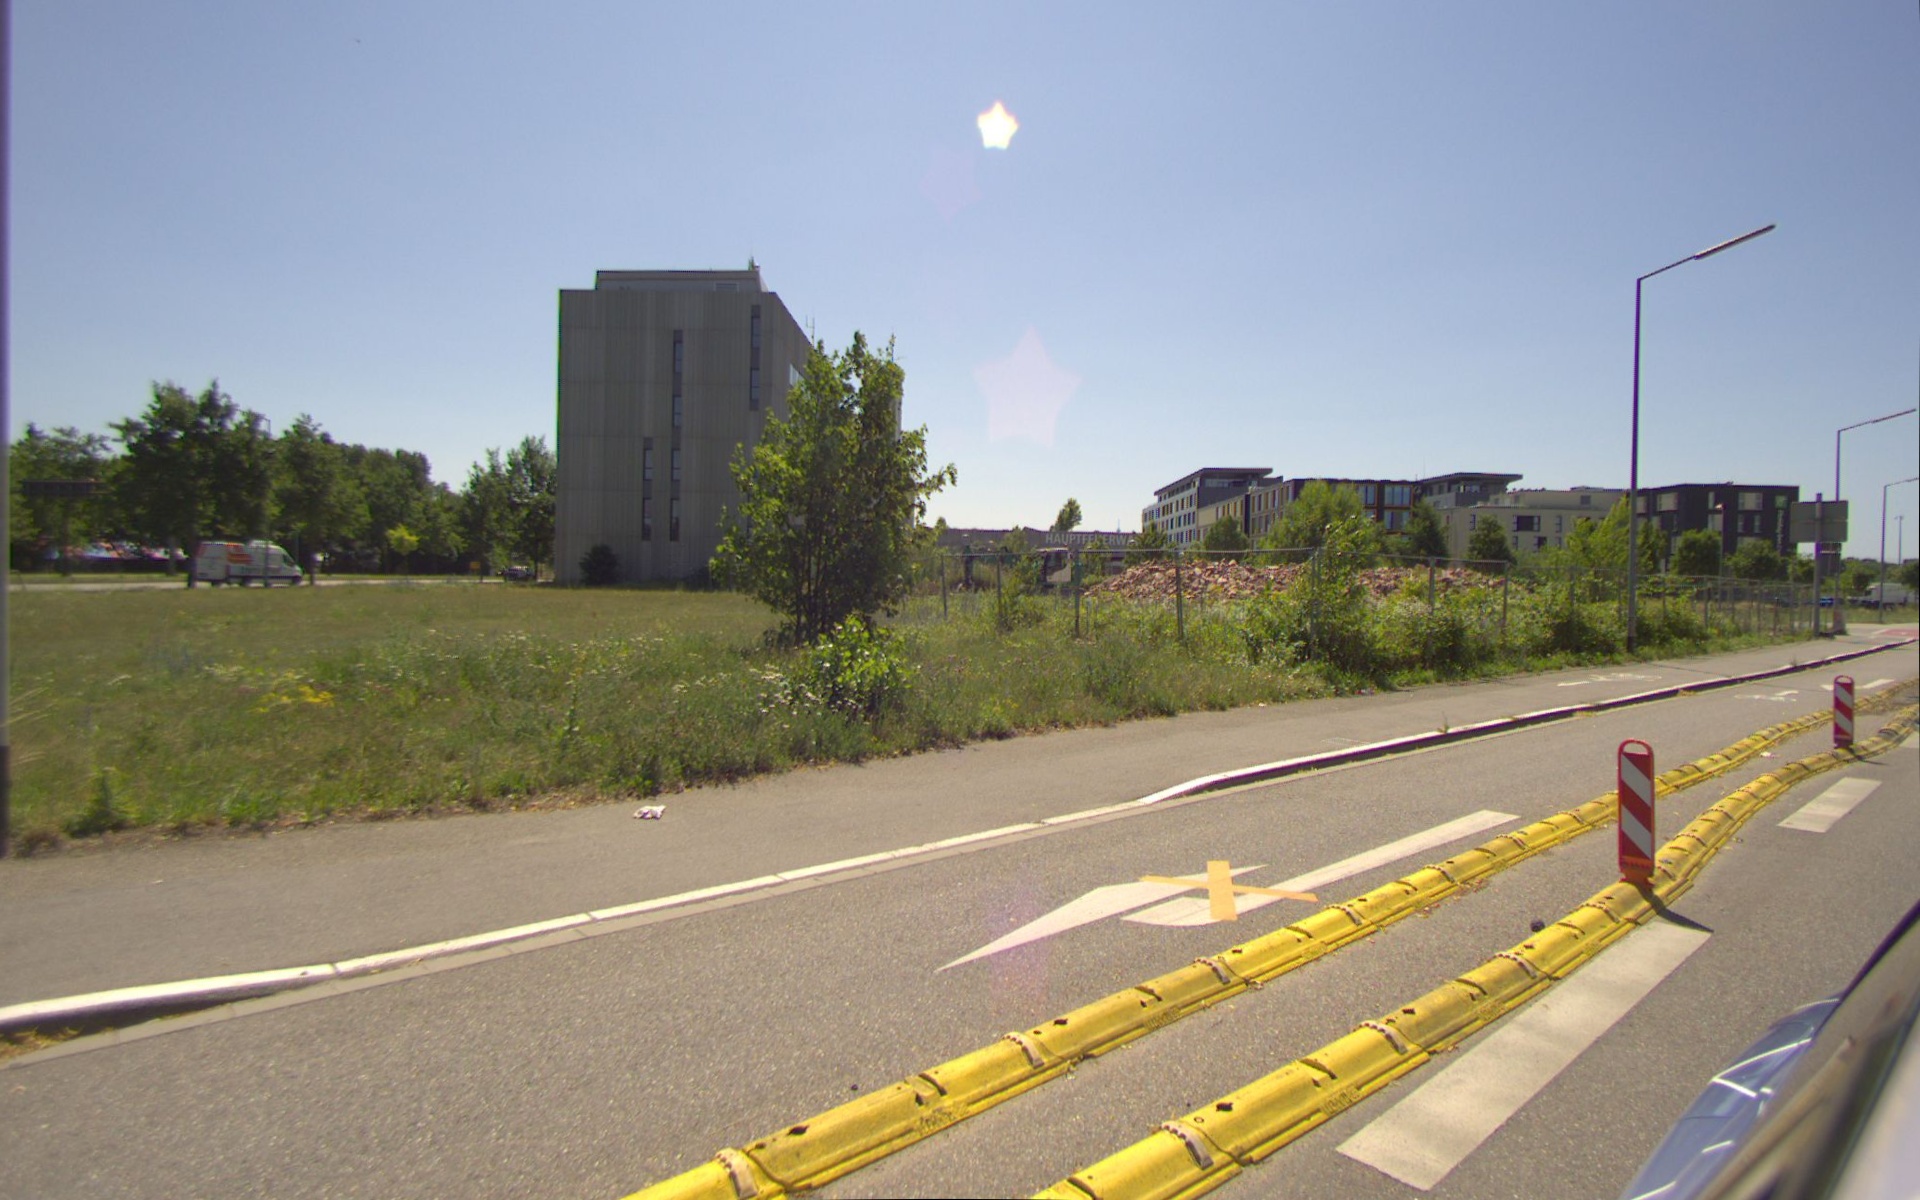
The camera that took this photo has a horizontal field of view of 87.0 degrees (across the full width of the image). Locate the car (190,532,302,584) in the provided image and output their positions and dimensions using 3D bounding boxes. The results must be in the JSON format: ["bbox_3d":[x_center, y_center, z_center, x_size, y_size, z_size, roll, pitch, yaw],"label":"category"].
[{"bbox_3d":[-42.750,-2.432,60.880,1.962,2.863,6.885,0,0,0],"label":"car"}]

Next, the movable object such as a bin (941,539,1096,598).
[{"bbox_3d":[3.074,-1.601,53.287,7.537,2.952,3.242,-1,0,-26],"label":"movable object such as a bin"}]

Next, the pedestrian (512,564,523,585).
[{"bbox_3d":[-33.403,-1.929,76.424,0.652,1.611,0.557,0,0,-15],"label":"pedestrian"}]

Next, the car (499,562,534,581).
[{"bbox_3d":[-41.697,-2.658,95.178,1.694,1.571,4.003,3,0,-3],"label":"car"}]
